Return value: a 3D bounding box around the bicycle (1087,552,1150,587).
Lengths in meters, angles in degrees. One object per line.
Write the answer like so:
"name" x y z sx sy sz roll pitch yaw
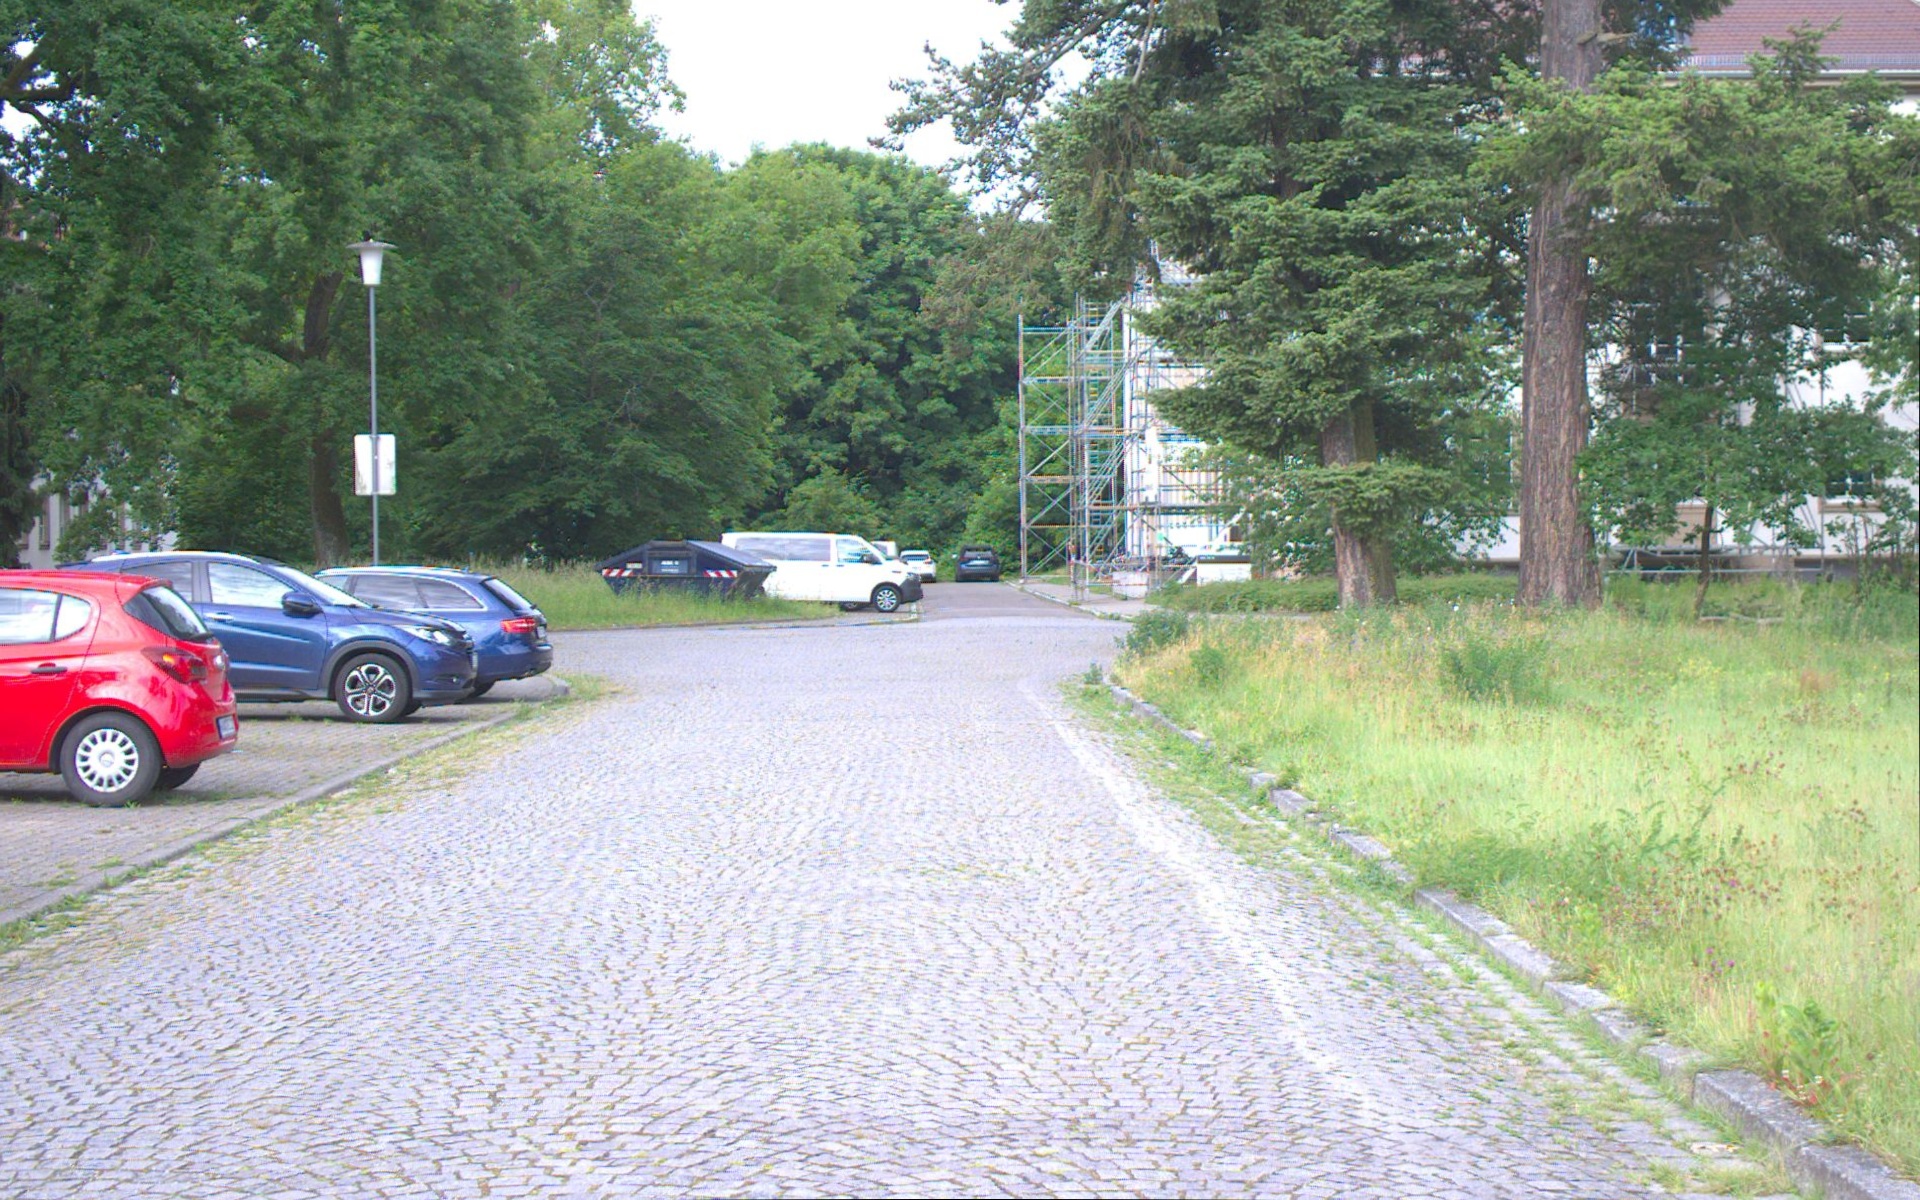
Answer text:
"bicycle" 5.722 -1.108 124.147 2.240 1.250 0.698 0 0 2

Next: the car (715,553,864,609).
"car" -4.399 -0.490 88.735 3.788 1.390 2.000 -1 1 -3

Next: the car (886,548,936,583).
"car" -2.181 -1.547 152.155 2.118 1.516 4.000 -1 1 -2

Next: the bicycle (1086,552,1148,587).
"bicycle" 5.715 -1.113 124.992 2.240 1.250 0.634 0 0 2

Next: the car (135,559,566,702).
"car" -6.551 0.306 37.305 4.303 1.456 1.975 1 1 1

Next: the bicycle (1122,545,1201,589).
"bicycle" 5.811 -0.961 99.179 2.240 1.250 0.777 0 0 2

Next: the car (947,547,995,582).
"car" 0.492 -1.592 152.472 1.951 1.516 4.000 -1 1 -2

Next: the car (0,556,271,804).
"car" -6.680 0.500 22.333 4.054 1.520 1.905 -1 1 -2

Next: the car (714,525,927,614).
"car" -3.500 -0.773 86.146 5.234 2.160 2.000 -1 1 -3

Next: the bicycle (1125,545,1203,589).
"bicycle" 5.992 -0.975 101.093 2.240 1.250 0.777 0 0 2

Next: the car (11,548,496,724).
"car" -6.619 0.318 32.552 4.227 1.571 1.887 0 1 -2
